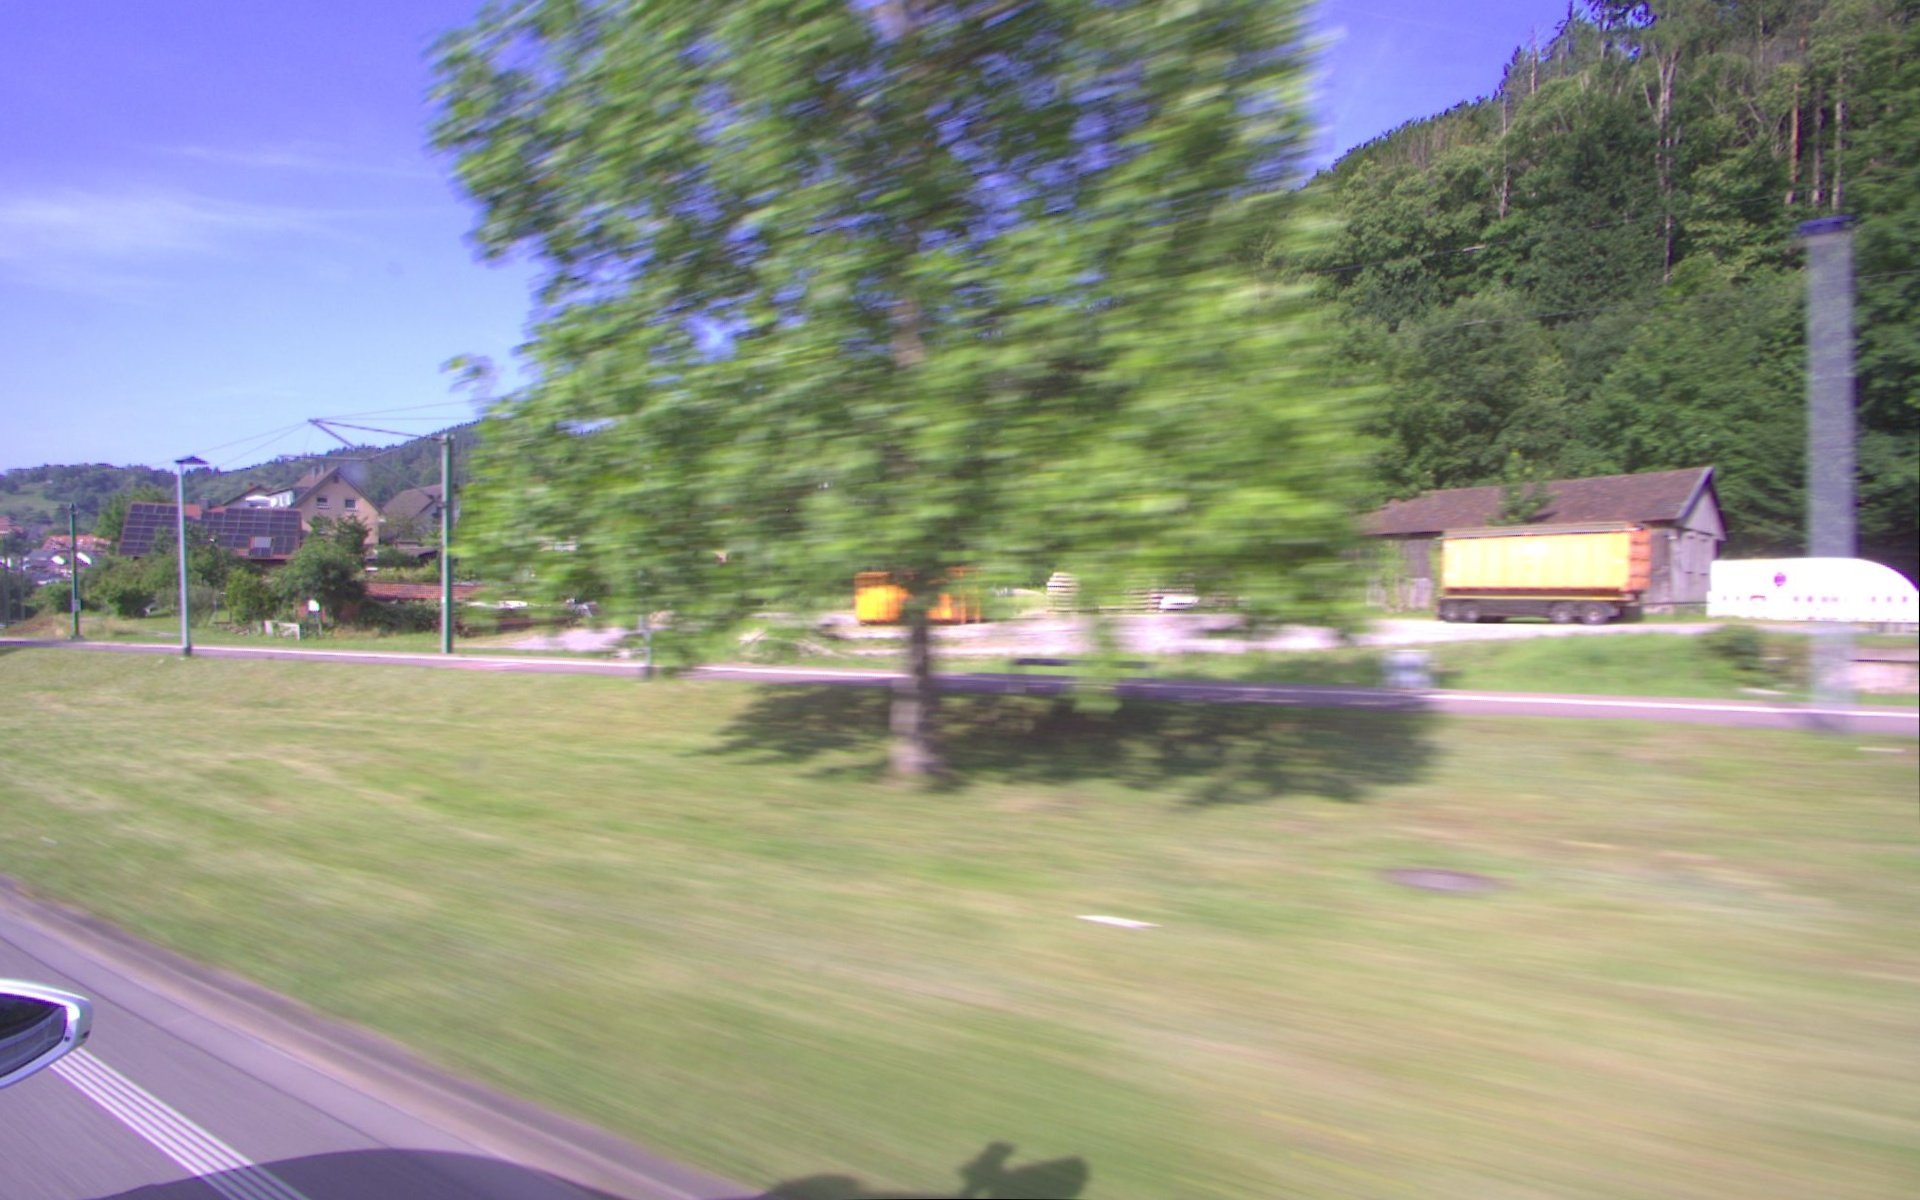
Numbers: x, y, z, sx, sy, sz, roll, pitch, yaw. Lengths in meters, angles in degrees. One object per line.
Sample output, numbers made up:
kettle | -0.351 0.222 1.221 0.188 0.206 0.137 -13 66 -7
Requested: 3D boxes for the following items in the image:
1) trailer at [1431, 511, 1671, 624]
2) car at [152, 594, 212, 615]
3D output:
trailer | 22.714 -1.118 38.890 2.587 3.945 7.661 -1 1 -42
car | -67.306 0.373 86.676 3.948 1.706 1.987 -1 0 -35
